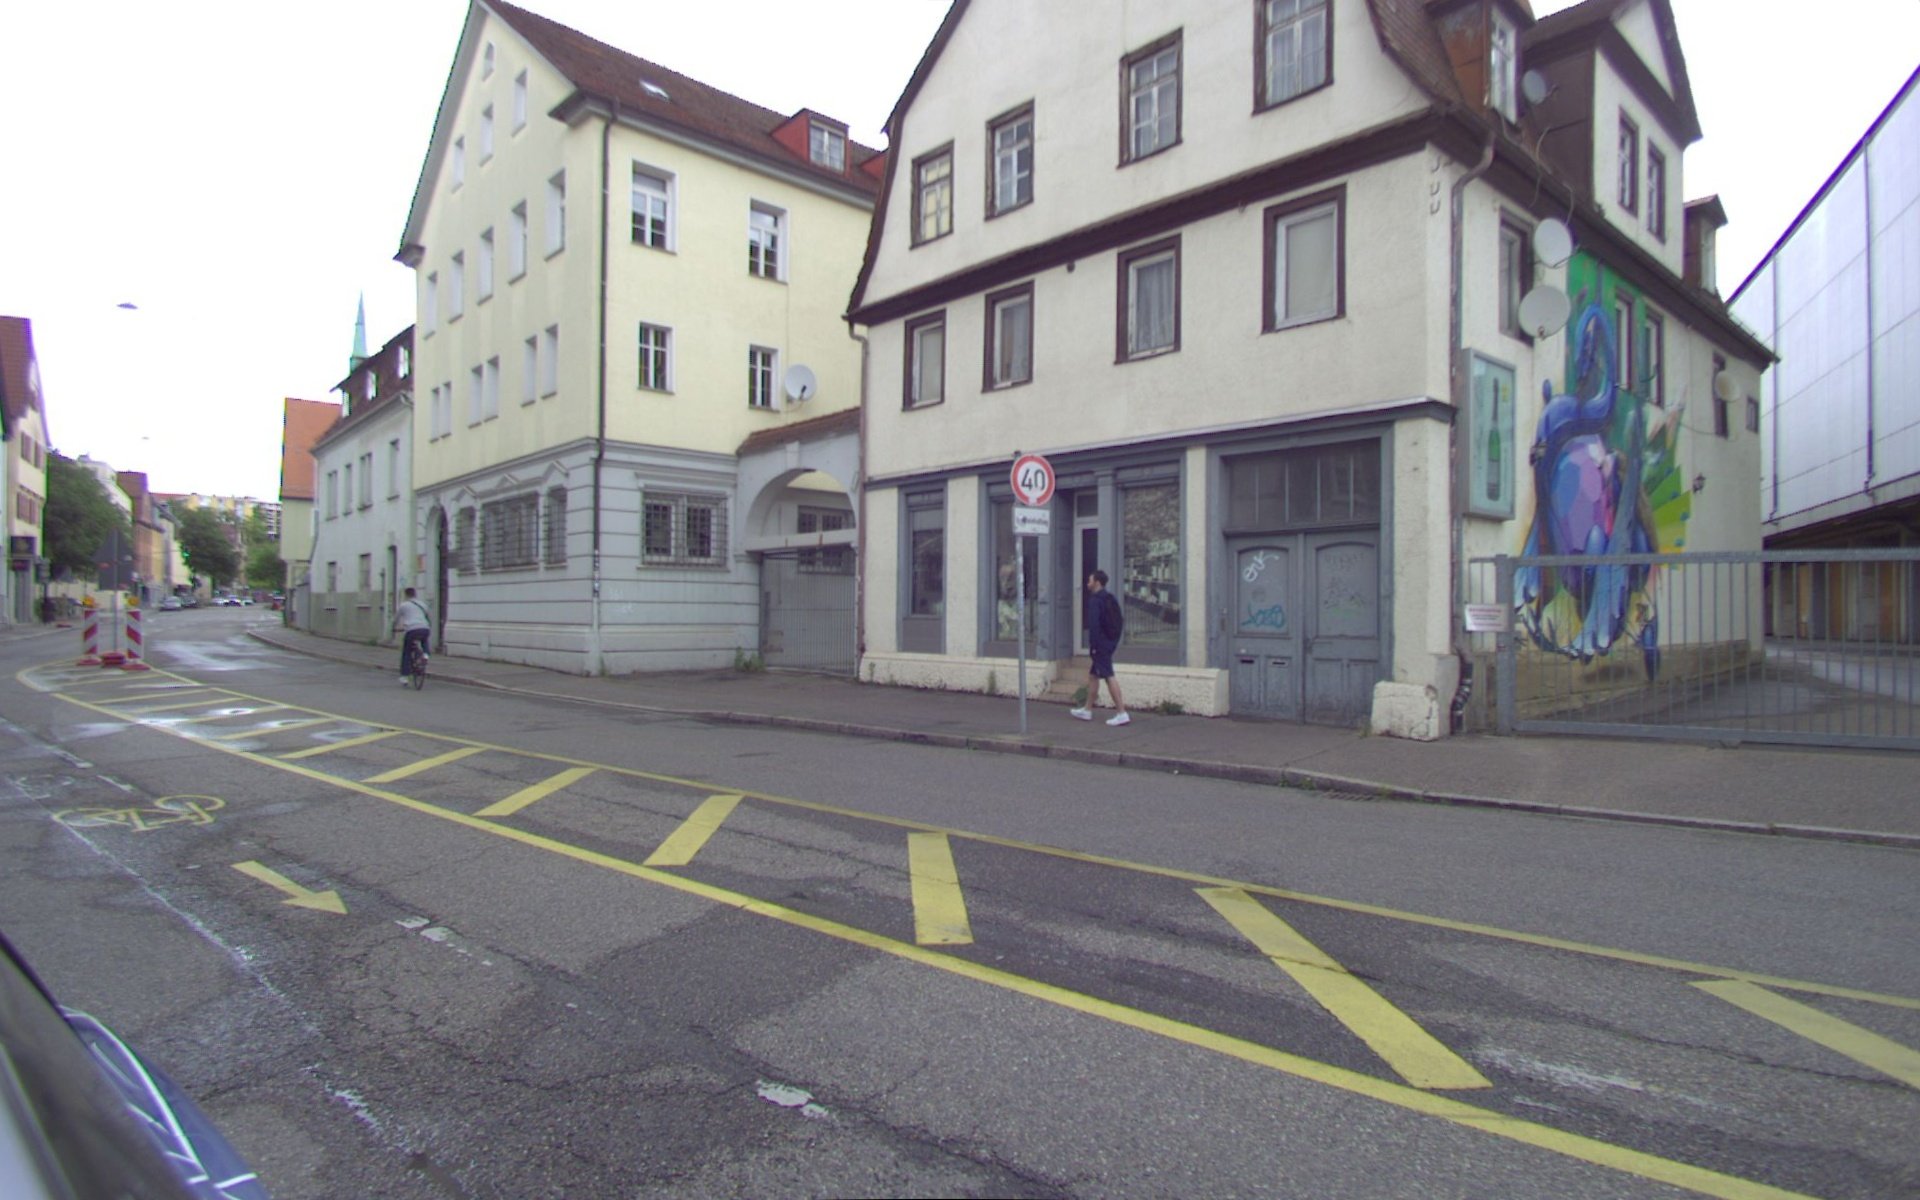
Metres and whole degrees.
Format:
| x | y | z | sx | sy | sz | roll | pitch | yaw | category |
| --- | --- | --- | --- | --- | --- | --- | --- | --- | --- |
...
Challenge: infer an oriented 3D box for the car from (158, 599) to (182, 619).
| x | y | z | sx | sy | sz | roll | pitch | yaw | category |
| --- | --- | --- | --- | --- | --- | --- | --- | --- | --- |
| -85.433 | 0.994 | 109.483 | 1.967 | 2.029 | 4.009 | 1 | -2 | -37 | car |

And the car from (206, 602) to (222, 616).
| x | y | z | sx | sy | sz | roll | pitch | yaw | category |
| --- | --- | --- | --- | --- | --- | --- | --- | --- | --- |
| -115.447 | 1.382 | 156.645 | 1.967 | 2.029 | 4.009 | 1 | -2 | -37 | car |

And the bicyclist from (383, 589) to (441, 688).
| x | y | z | sx | sy | sz | roll | pitch | yaw | category |
| --- | --- | --- | --- | --- | --- | --- | --- | --- | --- |
| -9.790 | 0.672 | 18.072 | 0.714 | 1.714 | 0.812 | 1 | -2 | -43 | bicyclist |

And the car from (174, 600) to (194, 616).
| x | y | z | sx | sy | sz | roll | pitch | yaw | category |
| --- | --- | --- | --- | --- | --- | --- | --- | --- | --- |
| -97.567 | 1.023 | 127.287 | 1.967 | 2.029 | 4.009 | 1 | -2 | -37 | car |

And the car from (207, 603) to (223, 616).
| x | y | z | sx | sy | sz | roll | pitch | yaw | category |
| --- | --- | --- | --- | --- | --- | --- | --- | --- | --- |
| -124.204 | 1.621 | 168.716 | 1.967 | 2.029 | 4.009 | 1 | -2 | -37 | car |

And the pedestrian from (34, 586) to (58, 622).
| x | y | z | sx | sy | sz | roll | pitch | yaw | category |
| --- | --- | --- | --- | --- | --- | --- | --- | --- | --- |
| -49.880 | 0.223 | 55.219 | 0.897 | 1.914 | 0.866 | -2 | -2 | 44 | pedestrian |

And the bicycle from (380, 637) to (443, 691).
| x | y | z | sx | sy | sz | roll | pitch | yaw | category |
| --- | --- | --- | --- | --- | --- | --- | --- | --- | --- |
| -9.814 | 1.115 | 18.089 | 0.534 | 0.899 | 1.882 | 1 | -2 | -43 | bicycle |

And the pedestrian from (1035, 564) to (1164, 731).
| x | y | z | sx | sy | sz | roll | pitch | yaw | category |
| --- | --- | --- | --- | --- | --- | --- | --- | --- | --- |
| 1.697 | 0.555 | 12.285 | 1.092 | 1.900 | 1.042 | -3 | -2 | 44 | pedestrian |

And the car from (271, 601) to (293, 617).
| x | y | z | sx | sy | sz | roll | pitch | yaw | category |
| --- | --- | --- | --- | --- | --- | --- | --- | --- | --- |
| -86.320 | 1.164 | 128.800 | 2.027 | 2.029 | 4.009 | 1 | -2 | -37 | car |

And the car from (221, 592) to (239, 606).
| x | y | z | sx | sy | sz | roll | pitch | yaw | category |
| --- | --- | --- | --- | --- | --- | --- | --- | --- | --- |
| -107.507 | -0.099 | 149.037 | 1.967 | 2.029 | 4.009 | 1 | -2 | -37 | car |
